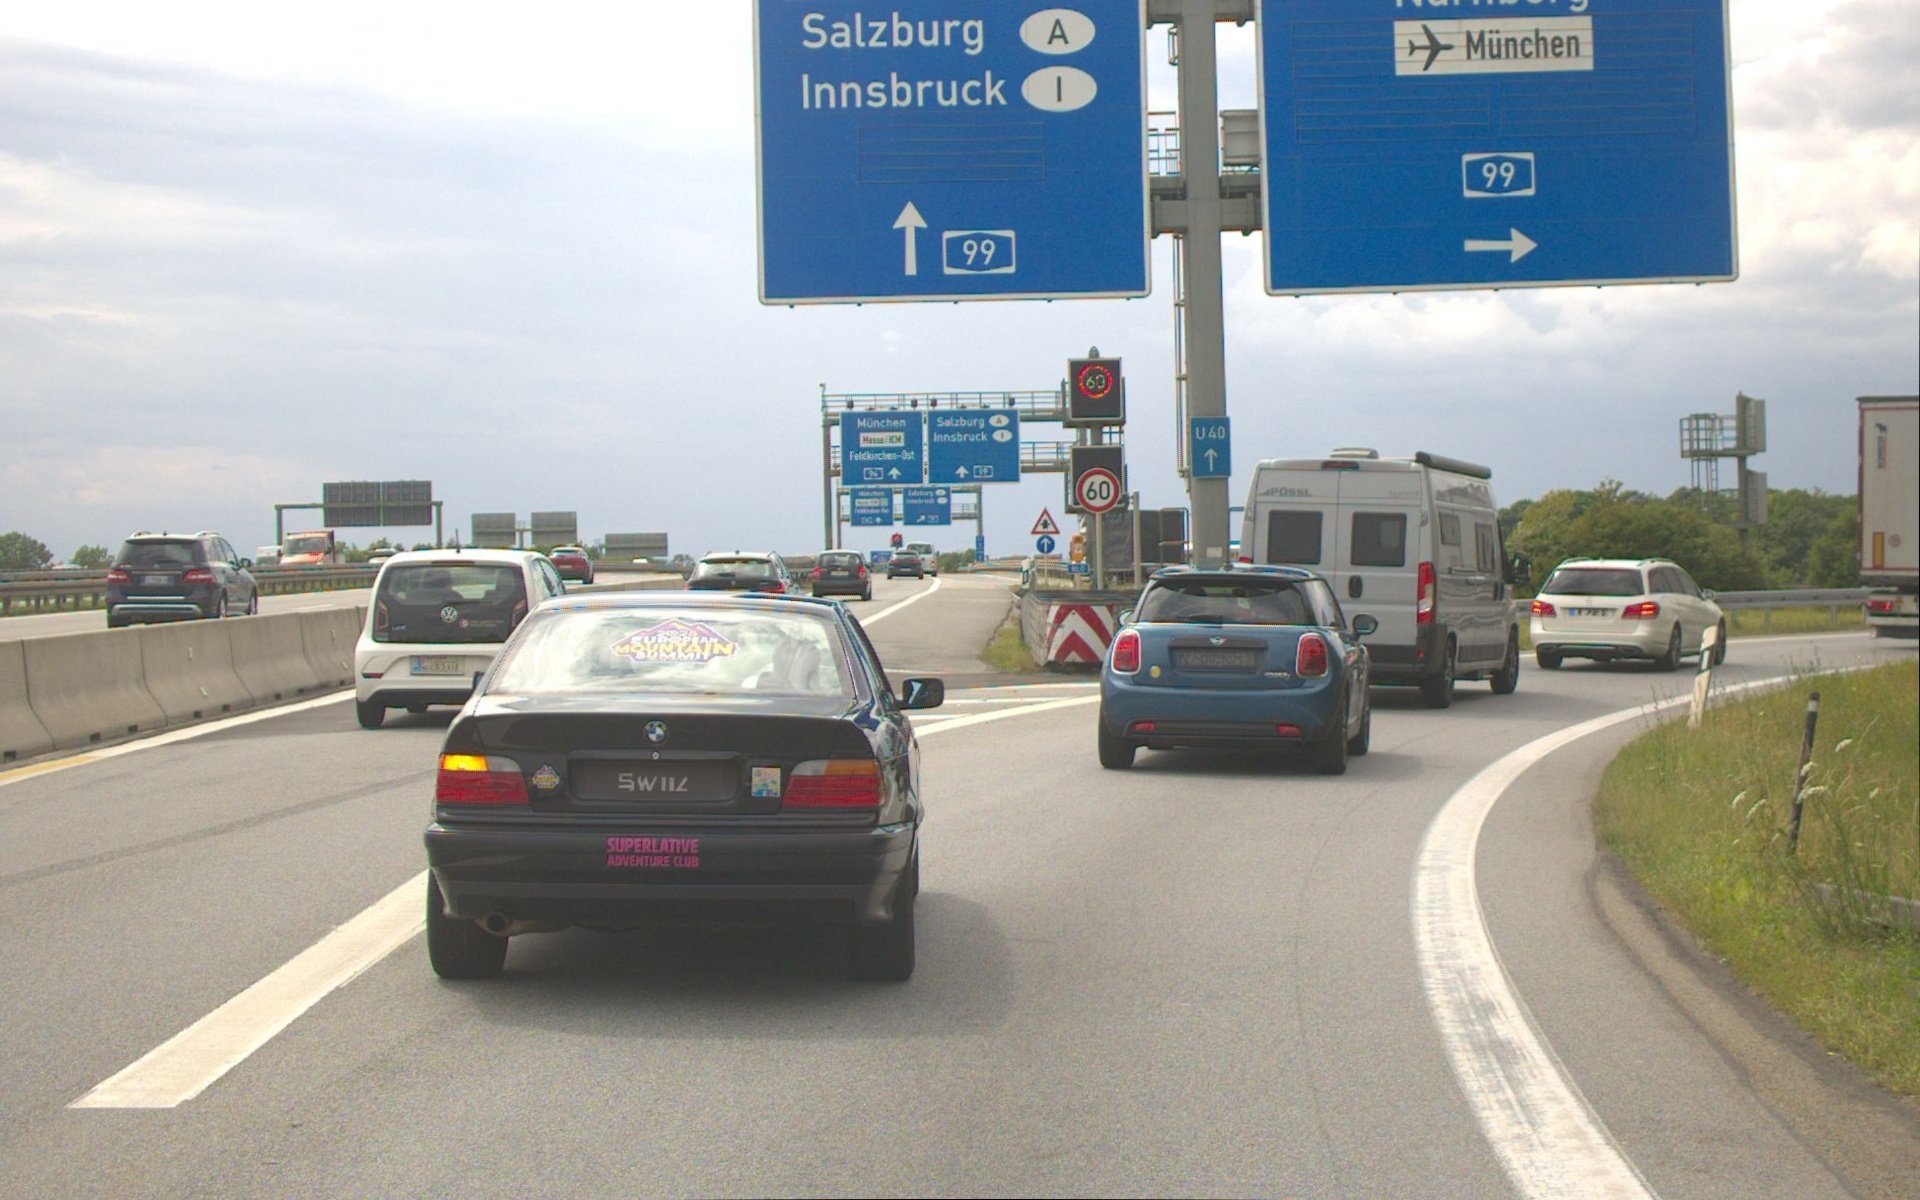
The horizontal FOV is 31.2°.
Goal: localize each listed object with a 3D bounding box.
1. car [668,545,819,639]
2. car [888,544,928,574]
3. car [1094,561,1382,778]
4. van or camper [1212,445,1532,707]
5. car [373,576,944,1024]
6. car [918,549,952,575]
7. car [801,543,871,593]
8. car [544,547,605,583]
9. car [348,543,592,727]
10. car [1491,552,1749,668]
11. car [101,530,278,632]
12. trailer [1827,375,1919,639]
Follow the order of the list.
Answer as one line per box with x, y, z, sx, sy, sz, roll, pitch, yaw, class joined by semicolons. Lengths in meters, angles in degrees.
-3.454;-0.161;55.589;1.994;1.463;4.000;0;1;3;car
-2.527;-2.019;167.712;1.803;1.419;4.000;0;1;1;car
2.087;0.442;24.986;1.730;1.414;3.664;1;1;10;car
4.543;-0.284;36.886;2.295;2.559;6.155;0;1;18;van or camper
-0.962;0.618;12.940;1.782;1.373;4.137;0;1;0;car
-1.377;-2.102;190.302;1.803;1.419;4.000;0;1;1;car
-3.569;-0.932;99.664;1.866;1.419;4.000;0;1;0;car
-16.036;-1.459;143.117;1.993;1.463;4.000;0;1;1;car
-4.149;0.253;29.536;1.585;1.478;3.535;0;1;0;car
9.081;0.095;47.006;2.209;1.496;4.780;0;1;27;car
-13.258;-0.355;59.439;1.993;1.678;4.866;0;1;0;car
19.209;-1.533;59.601;3.337;4.179;13.004;1;1;37;trailer
